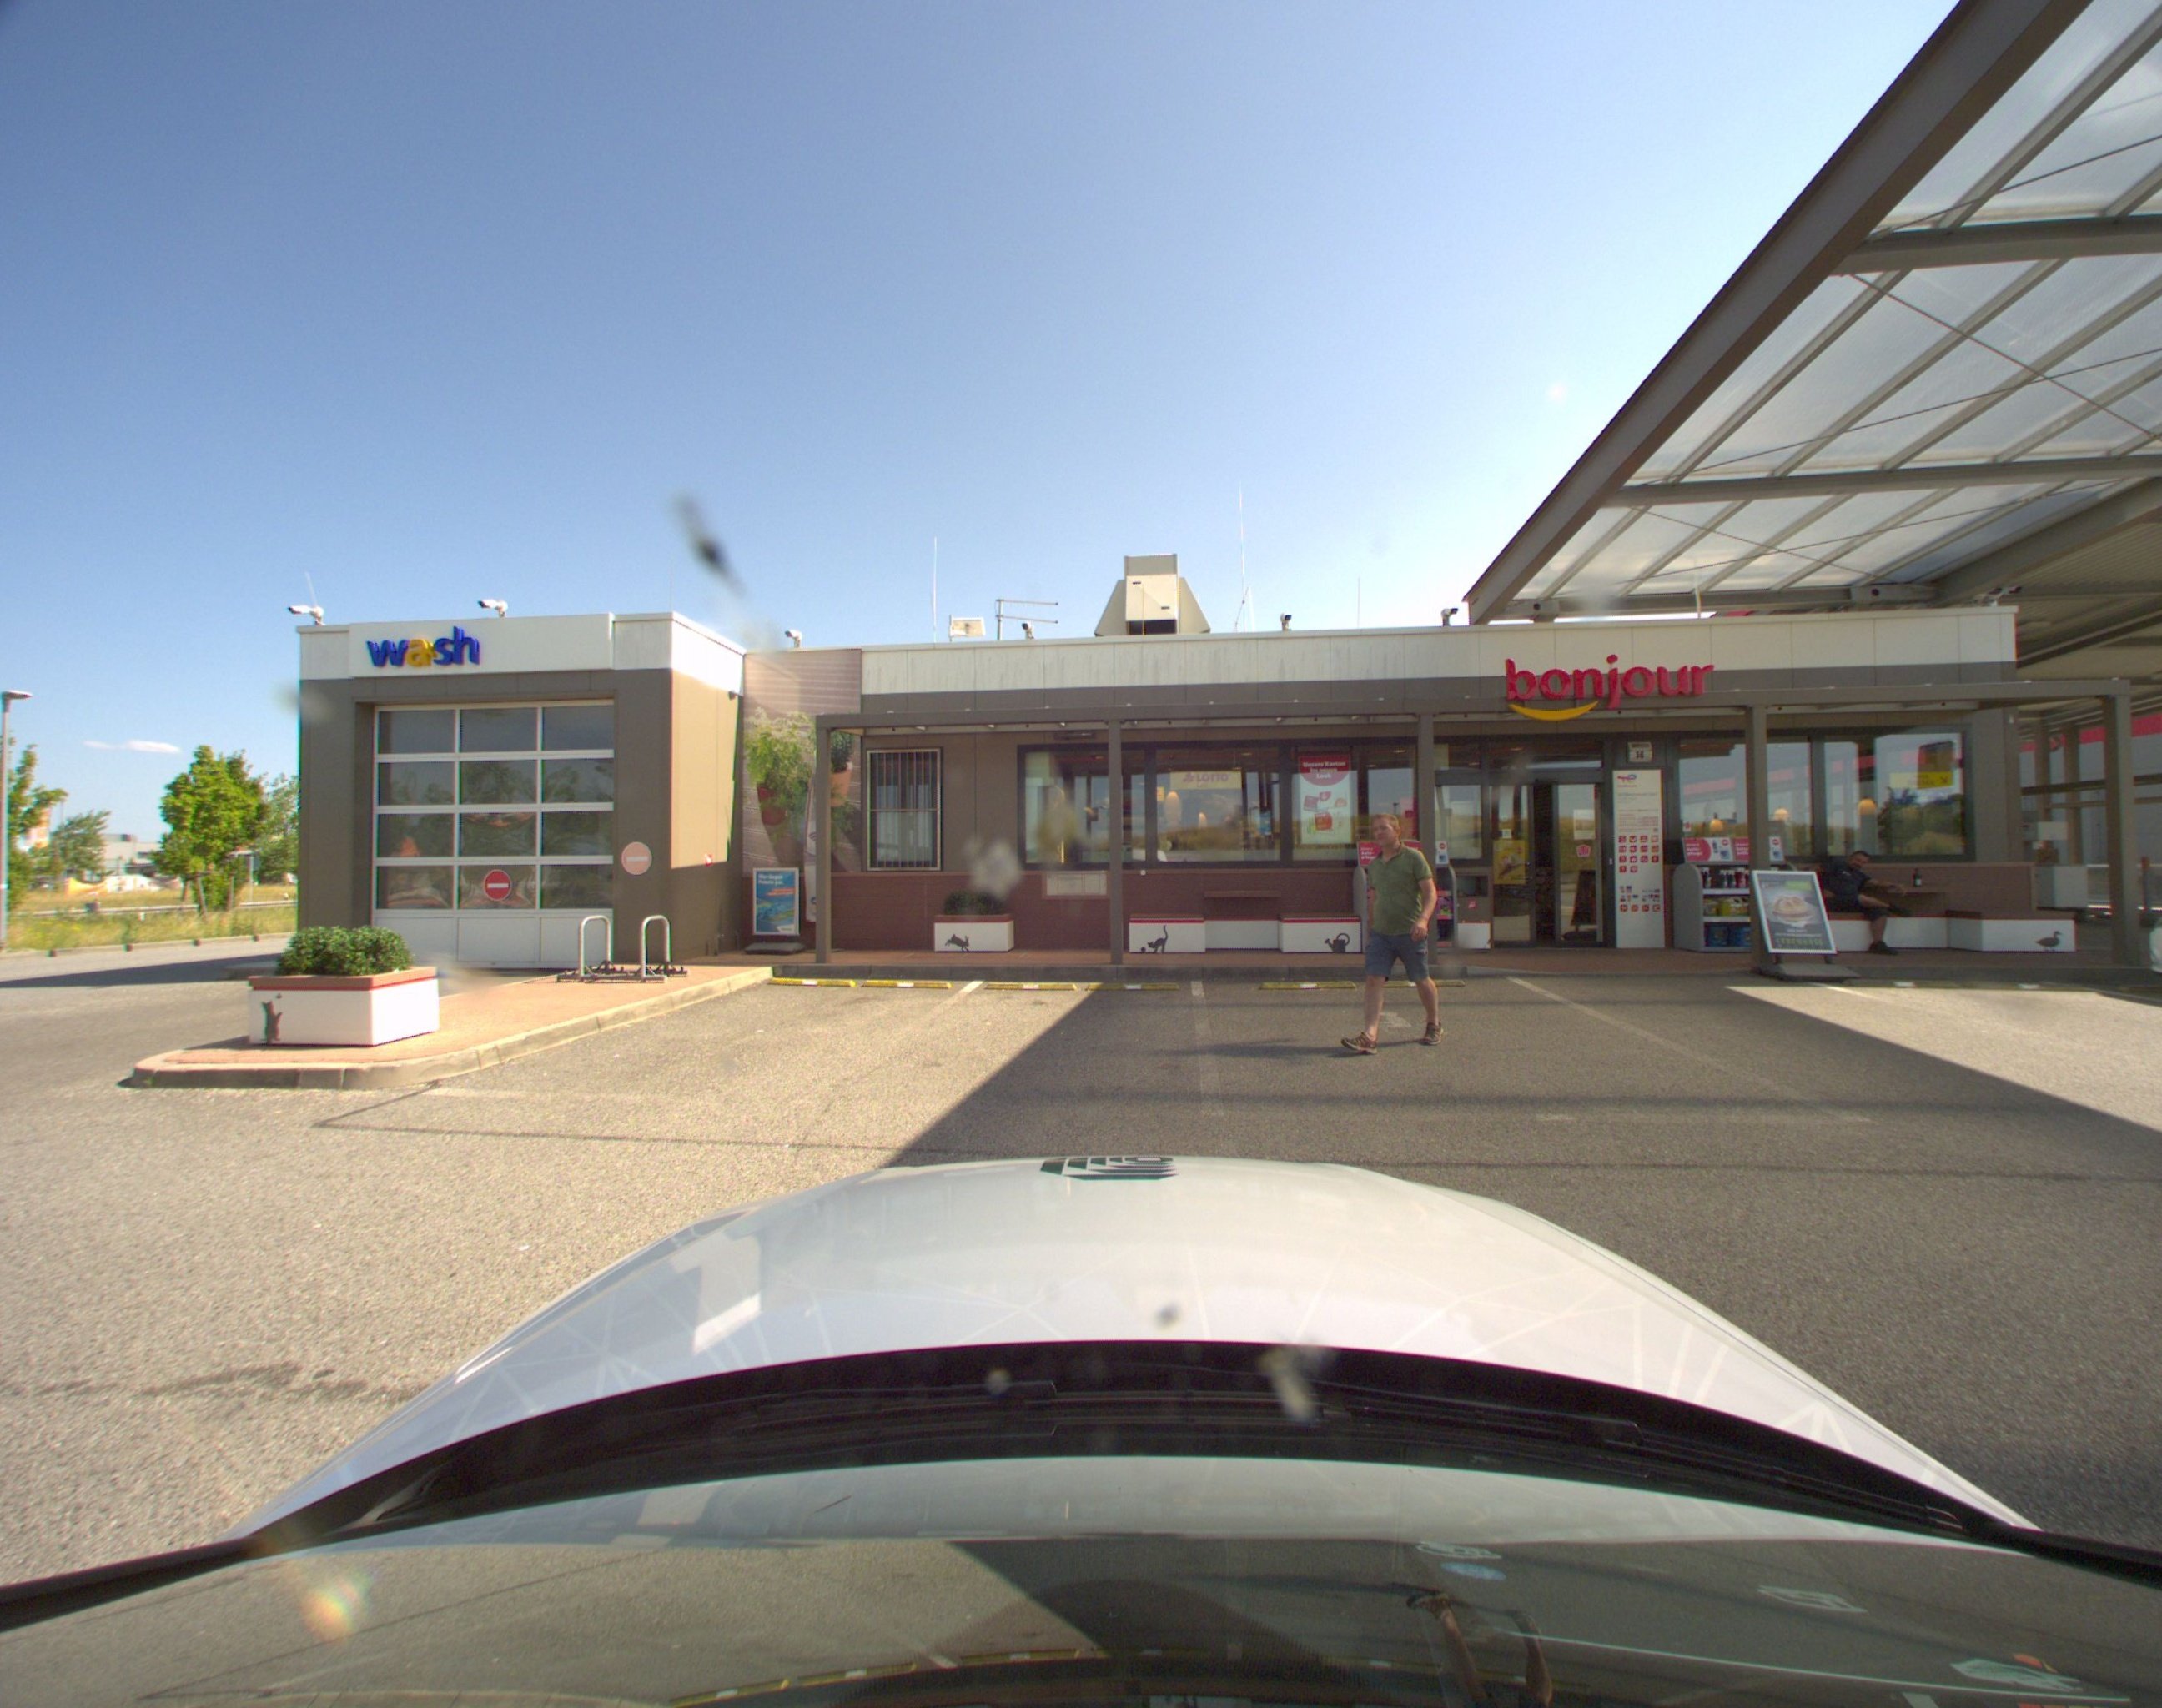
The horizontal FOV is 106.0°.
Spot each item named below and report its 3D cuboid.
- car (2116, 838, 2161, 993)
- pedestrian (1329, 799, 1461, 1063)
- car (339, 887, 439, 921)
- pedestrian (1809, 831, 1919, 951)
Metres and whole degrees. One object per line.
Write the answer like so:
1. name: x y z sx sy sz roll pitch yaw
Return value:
1. car: 11.098 0.559 5.854 1.824 1.457 4.320 -1 0 0
2. pedestrian: 2.367 0.525 6.107 0.694 1.797 0.868 -1 -1 35
3. car: -41.316 2.969 48.752 1.775 1.751 4.588 -1 0 6
4. pedestrian: 9.699 0.450 10.113 0.698 1.432 0.673 -1 -1 5
